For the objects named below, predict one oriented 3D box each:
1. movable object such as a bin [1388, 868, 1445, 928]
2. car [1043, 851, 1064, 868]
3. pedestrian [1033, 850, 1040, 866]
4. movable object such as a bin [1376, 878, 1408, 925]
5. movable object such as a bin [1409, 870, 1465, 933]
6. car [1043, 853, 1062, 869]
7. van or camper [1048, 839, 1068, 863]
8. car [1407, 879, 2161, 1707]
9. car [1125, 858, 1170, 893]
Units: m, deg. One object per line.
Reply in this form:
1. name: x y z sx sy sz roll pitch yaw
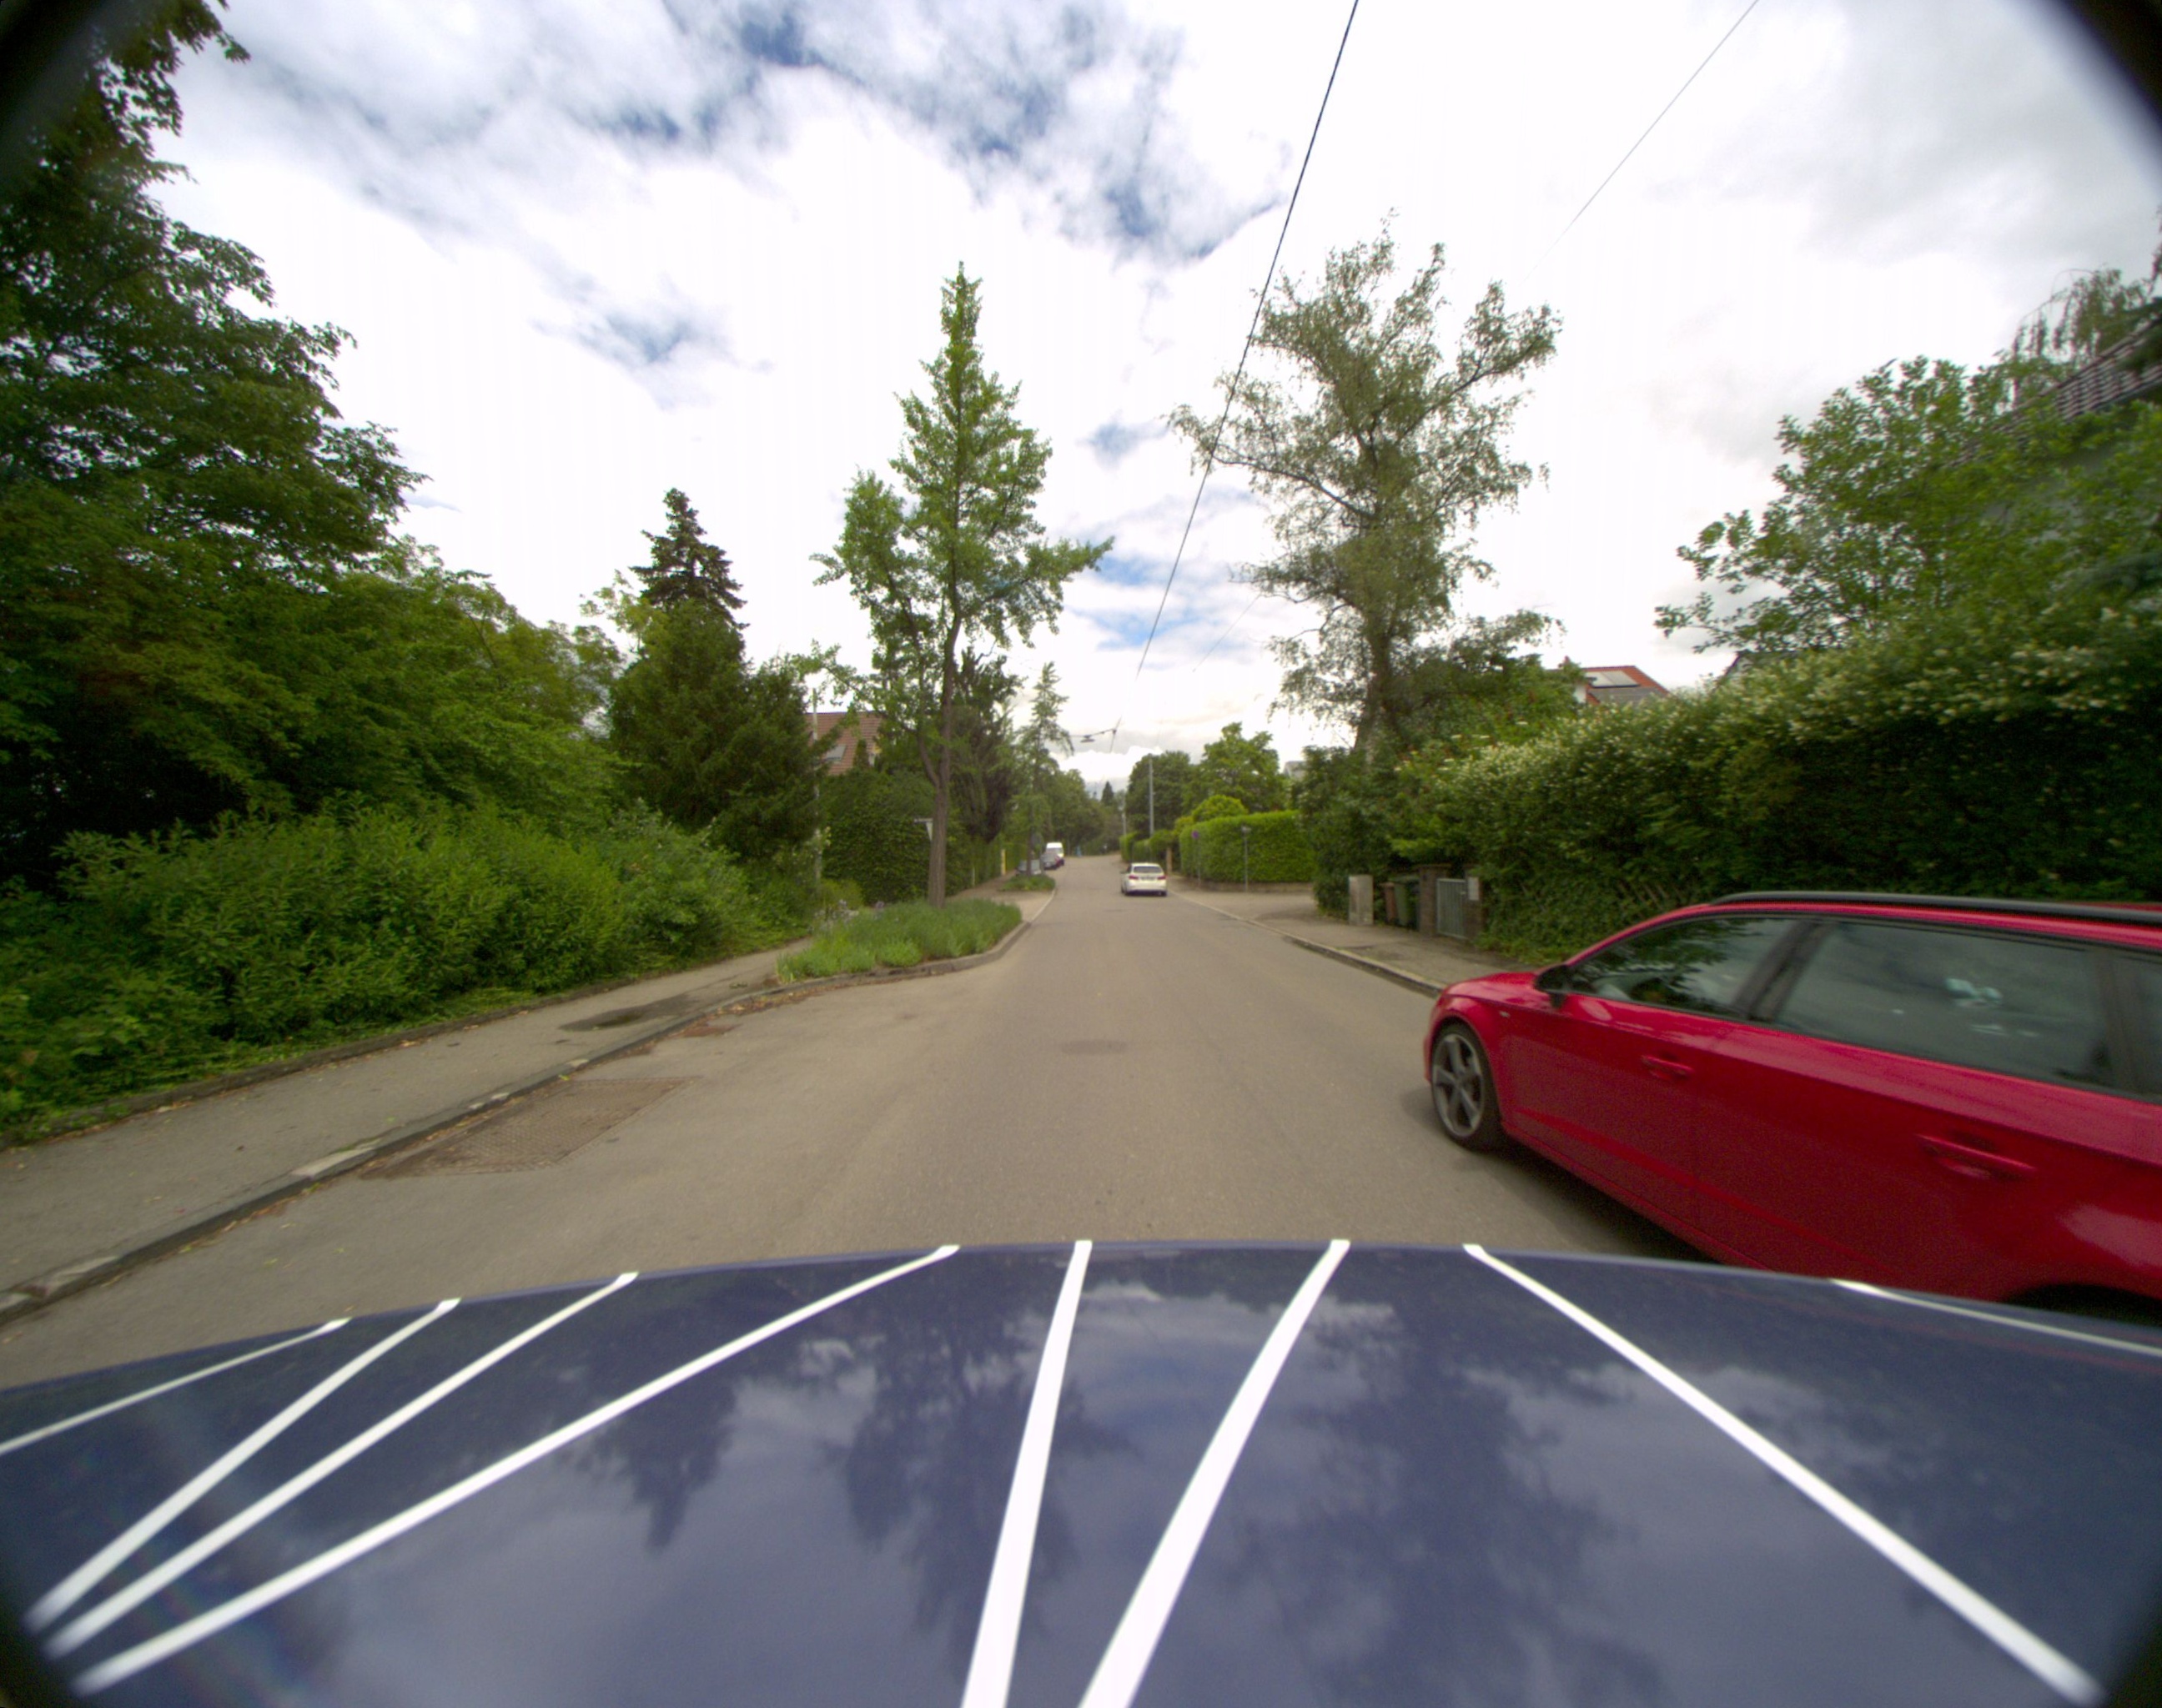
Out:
1. movable object such as a bin: 6.774 0.878 15.368 0.729 1.119 0.722 -4 1 -3
2. car: -2.846 0.567 79.360 1.893 1.572 4.764 1 1 0
3. pedestrian: -4.580 0.386 78.930 0.671 1.689 0.918 0 1 1
4. movable object such as a bin: 6.544 0.995 16.000 0.379 0.945 0.512 -4 1 -3
5. movable object such as a bin: 6.838 0.902 14.621 0.729 1.110 0.585 -4 1 -3
6. car: -2.698 0.651 73.137 1.683 1.399 4.053 -1 0 0
7. van or camper: -2.686 -0.366 87.990 2.047 2.605 7.036 -2 1 -2
8. car: 2.882 0.883 2.418 1.810 1.423 4.118 2 0 -1
9. car: 2.941 0.901 34.144 1.809 1.423 4.301 1 0 2
